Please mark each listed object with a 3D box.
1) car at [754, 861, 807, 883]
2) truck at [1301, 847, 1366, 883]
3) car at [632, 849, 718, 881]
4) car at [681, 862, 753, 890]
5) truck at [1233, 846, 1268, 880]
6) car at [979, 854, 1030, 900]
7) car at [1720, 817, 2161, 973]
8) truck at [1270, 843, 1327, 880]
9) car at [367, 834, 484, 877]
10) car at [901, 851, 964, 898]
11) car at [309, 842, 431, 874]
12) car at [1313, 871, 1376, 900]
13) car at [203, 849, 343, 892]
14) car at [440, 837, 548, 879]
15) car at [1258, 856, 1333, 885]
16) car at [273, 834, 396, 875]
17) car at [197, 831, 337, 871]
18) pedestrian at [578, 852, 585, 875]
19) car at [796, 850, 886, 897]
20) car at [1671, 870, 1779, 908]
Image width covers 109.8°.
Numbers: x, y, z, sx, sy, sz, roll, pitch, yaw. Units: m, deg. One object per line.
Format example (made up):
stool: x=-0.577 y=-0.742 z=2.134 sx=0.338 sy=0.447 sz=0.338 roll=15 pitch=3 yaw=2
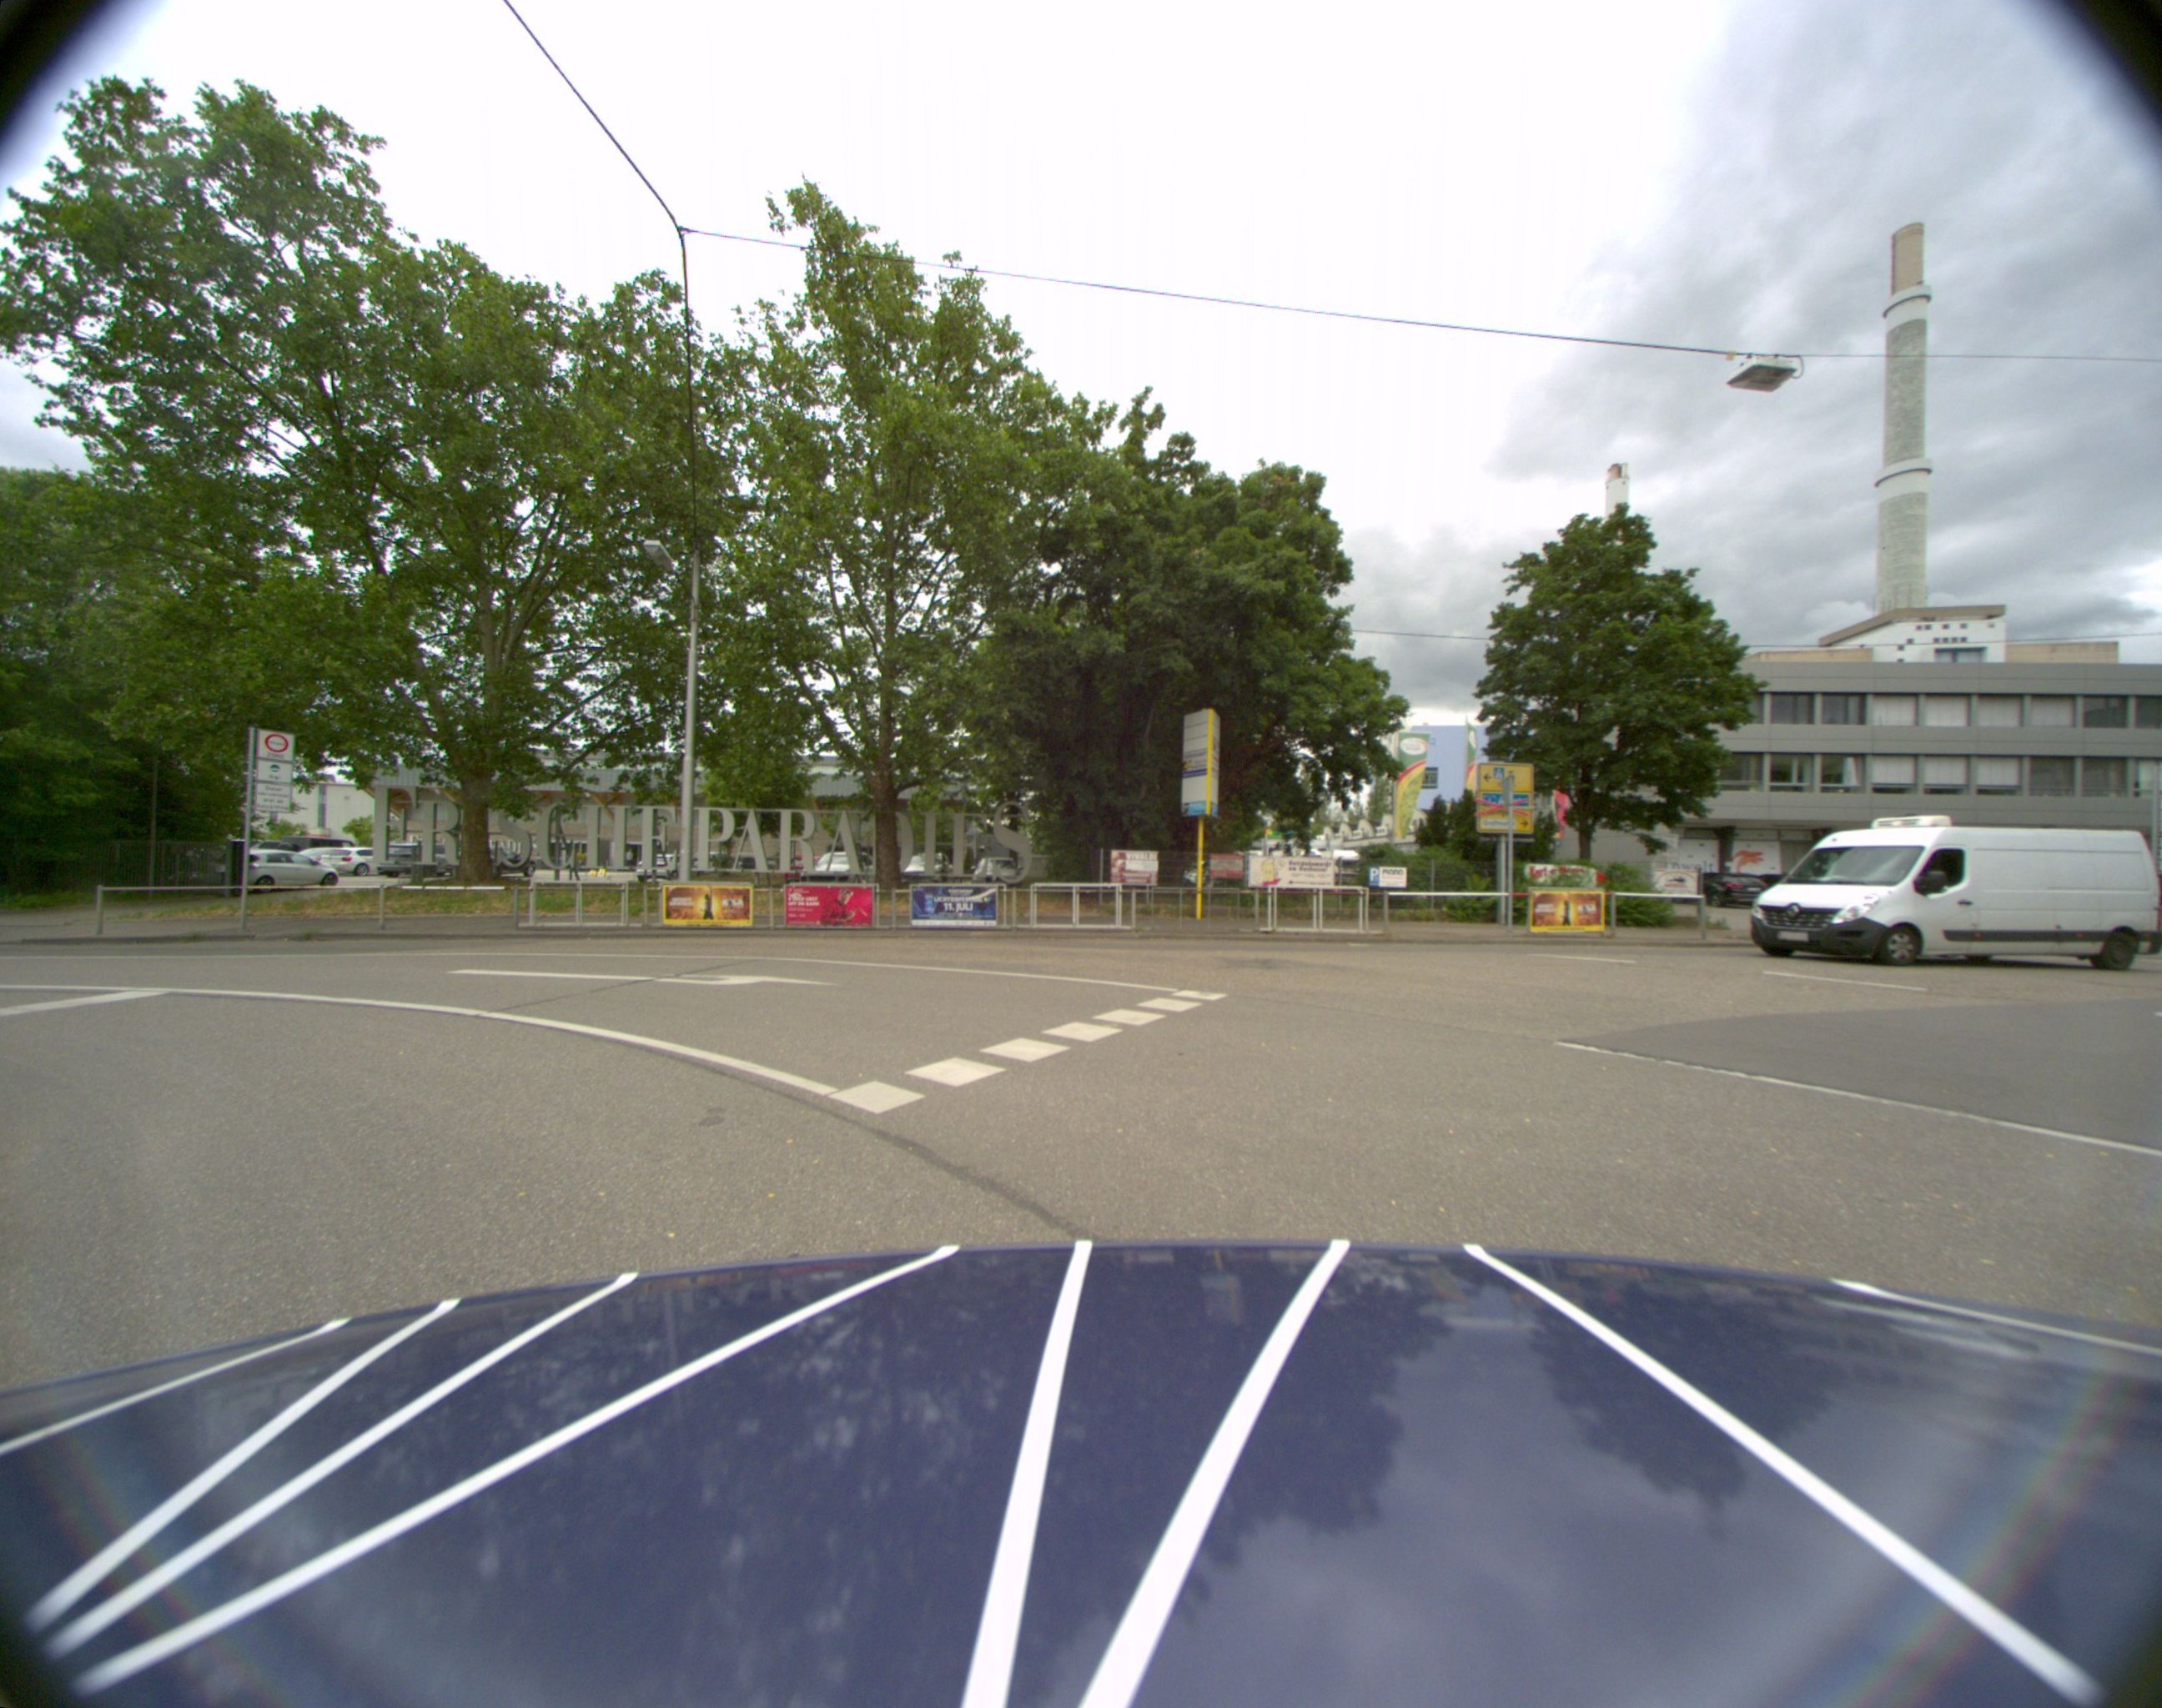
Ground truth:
car: x=-21.848 y=1.305 z=55.444 sx=1.999 sy=1.552 sz=4.641 roll=1 pitch=-1 yaw=-1
truck: x=29.899 y=1.340 z=90.986 sx=2.849 sy=3.909 sz=15.733 roll=2 pitch=-1 yaw=2
car: x=-21.102 y=0.594 z=39.722 sx=1.999 sy=1.552 sz=4.641 roll=1 pitch=-1 yaw=-1
car: x=-21.213 y=1.274 z=44.529 sx=1.999 sy=1.552 sz=4.641 roll=1 pitch=-1 yaw=-1
truck: x=22.181 y=1.171 z=100.126 sx=2.996 sy=4.141 sz=9.192 roll=1 pitch=-1 yaw=4
car: x=-2.816 y=0.867 z=28.754 sx=1.591 sy=1.603 sz=4.001 roll=1 pitch=-2 yaw=-1
car: x=15.228 y=0.740 z=13.588 sx=6.101 sy=2.444 sz=2.388 roll=1 pitch=-1 yaw=-9
truck: x=25.823 y=0.947 z=91.095 sx=2.849 sy=3.909 sz=15.734 roll=2 pitch=-1 yaw=2
car: x=-33.626 y=0.116 z=39.163 sx=1.999 sy=2.001 sz=4.641 roll=1 pitch=-1 yaw=-1
car: x=-5.520 y=0.776 z=28.701 sx=1.591 sy=1.603 sz=4.318 roll=1 pitch=-2 yaw=-1
car: x=-36.905 y=0.252 z=39.664 sx=1.999 sy=1.549 sz=4.641 roll=1 pitch=-1 yaw=-1
car: x=12.308 y=1.443 z=35.664 sx=1.708 sy=1.241 sz=3.702 roll=2 pitch=-1 yaw=1
car: x=-30.553 y=0.629 z=28.910 sx=1.481 sy=1.495 sz=3.729 roll=1 pitch=-1 yaw=-4
car: x=-30.323 y=0.224 z=39.462 sx=1.999 sy=2.001 sz=4.641 roll=1 pitch=-1 yaw=-1
car: x=22.369 y=1.726 z=79.481 sx=7.146 sy=2.716 sz=2.245 roll=2 pitch=-1 yaw=4
car: x=-39.586 y=0.066 z=40.482 sx=1.999 sy=2.001 sz=4.641 roll=1 pitch=-1 yaw=-1
car: x=-43.484 y=-0.094 z=40.799 sx=1.999 sy=1.986 sz=5.103 roll=1 pitch=-1 yaw=-1
pedestrian: x=-37.709 y=0.706 z=57.378 sx=0.342 sy=1.754 sz=0.437 roll=2 pitch=-2 yaw=-23
car: x=-8.984 y=0.746 z=28.916 sx=1.883 sy=1.603 sz=4.527 roll=1 pitch=-2 yaw=1
car: x=31.644 y=1.686 z=37.516 sx=1.836 sy=1.608 sz=4.467 roll=2 pitch=0 yaw=6
